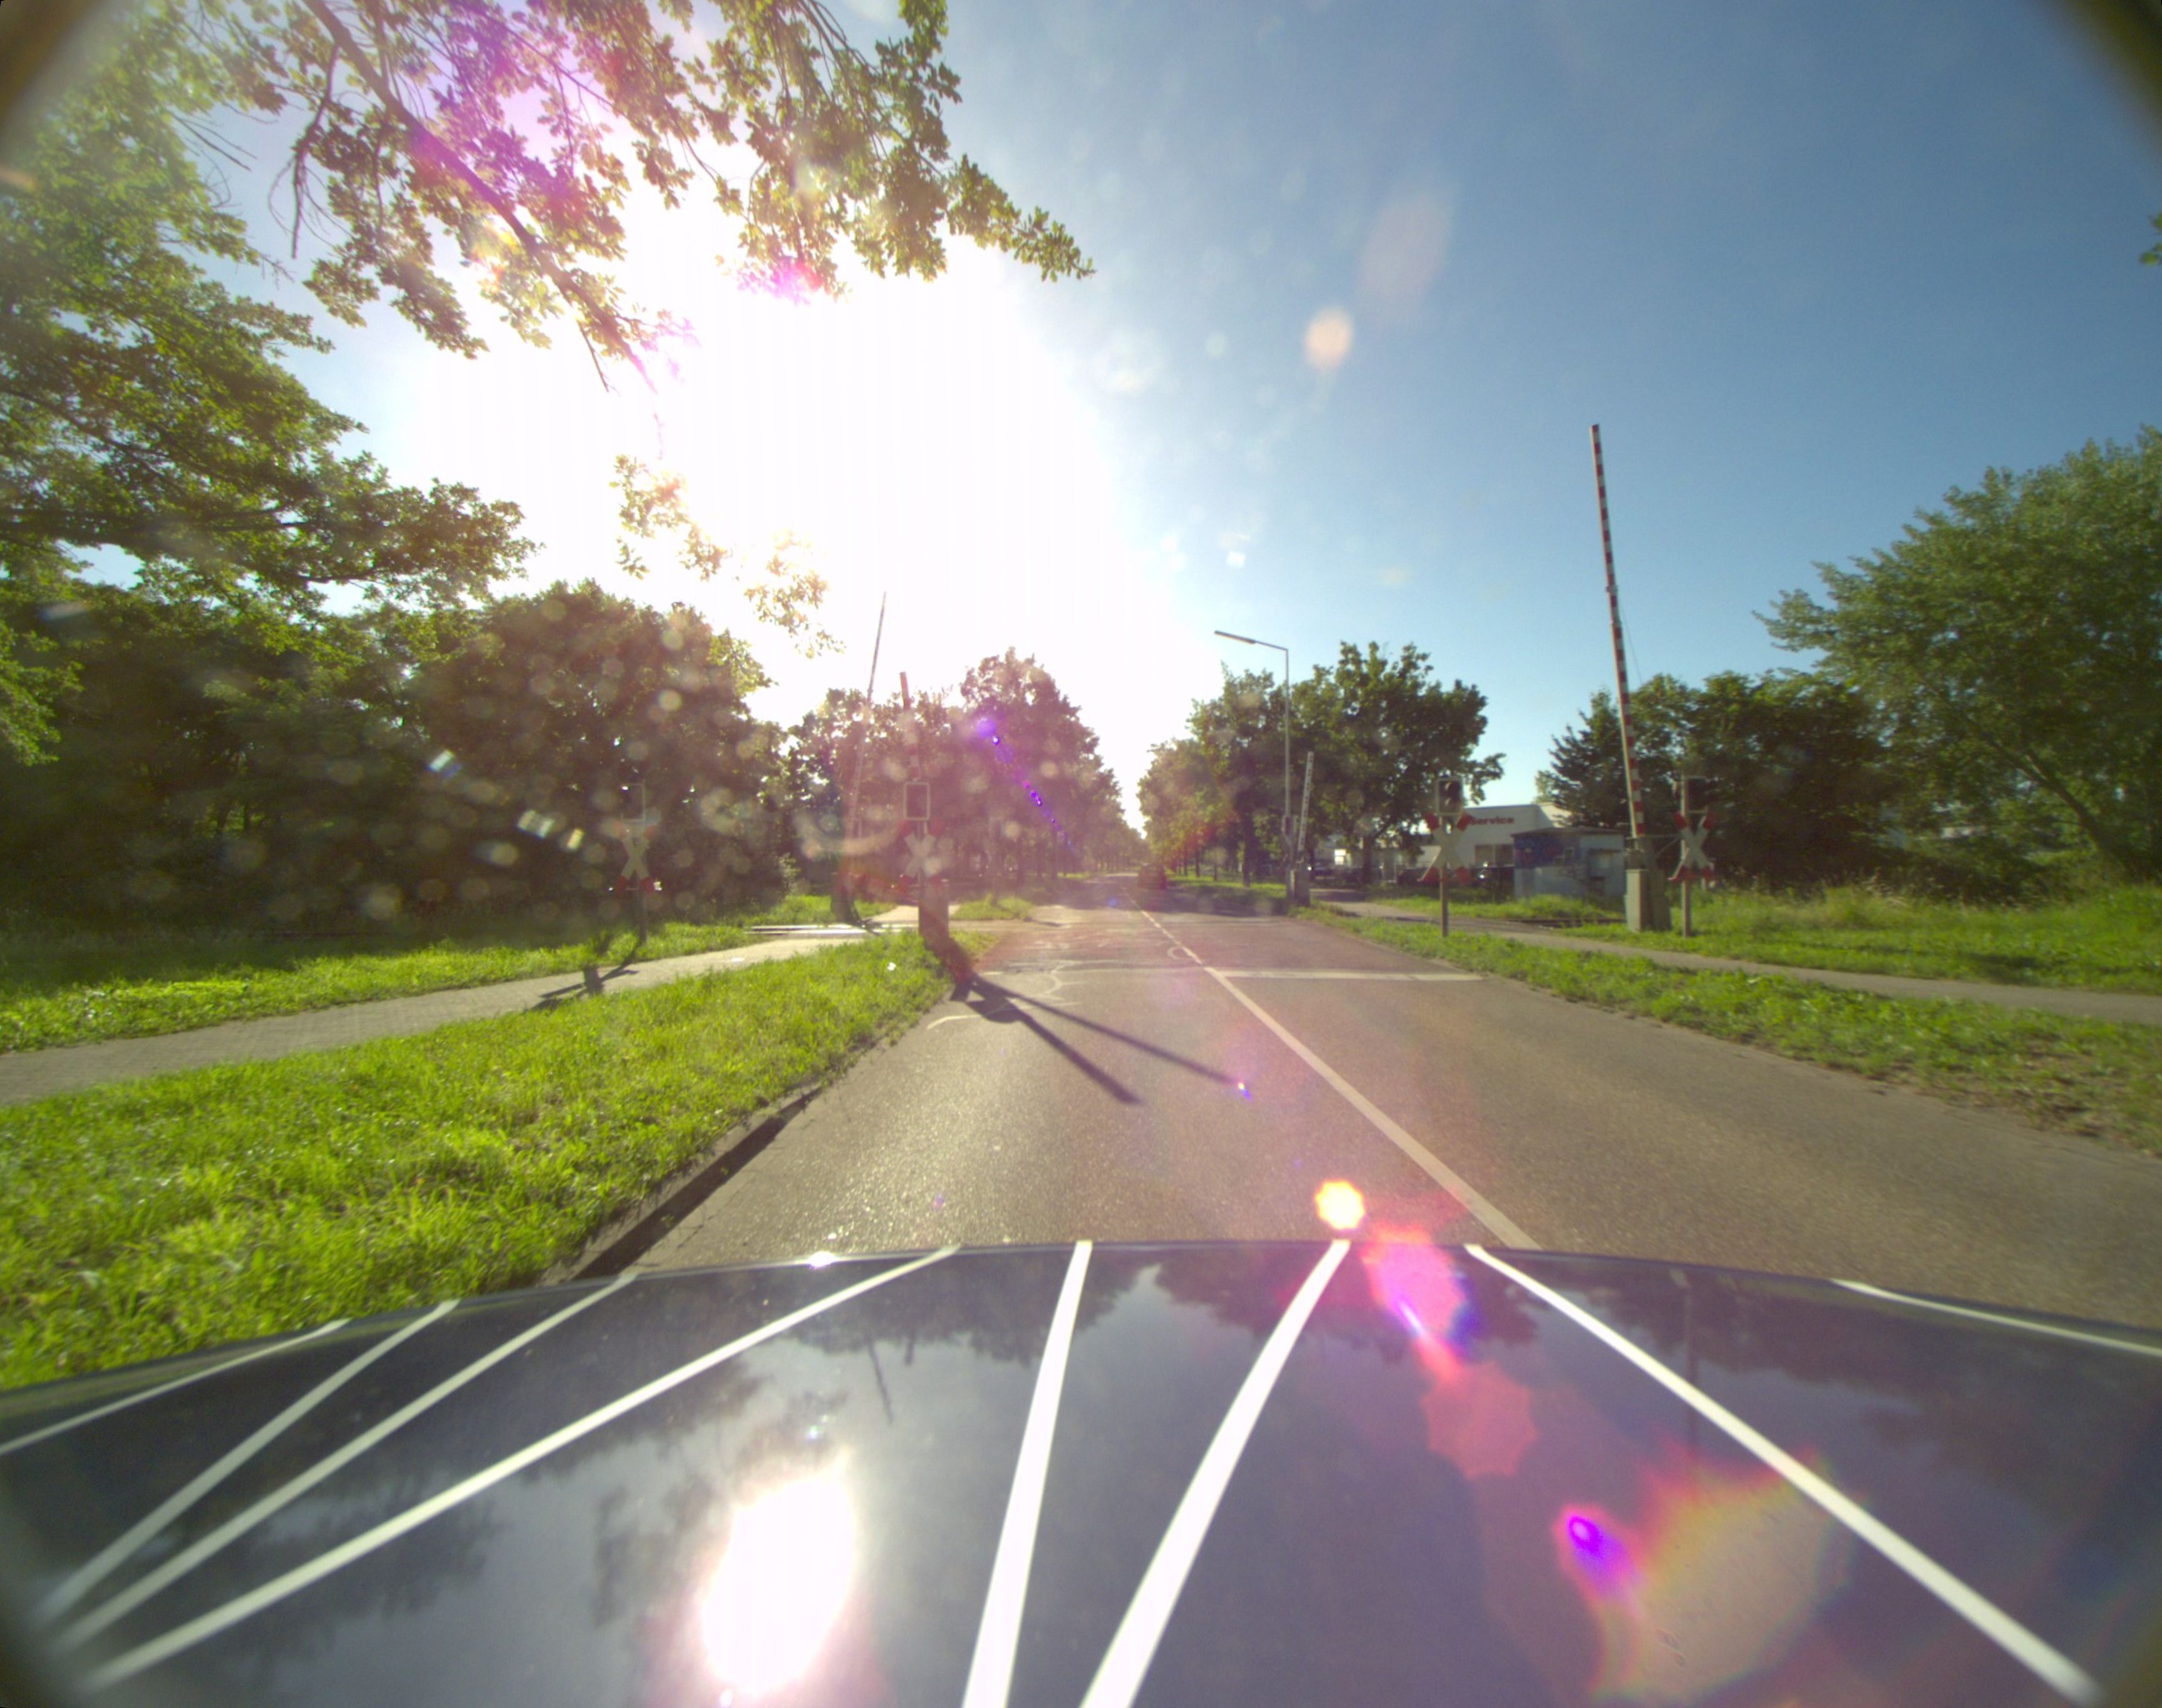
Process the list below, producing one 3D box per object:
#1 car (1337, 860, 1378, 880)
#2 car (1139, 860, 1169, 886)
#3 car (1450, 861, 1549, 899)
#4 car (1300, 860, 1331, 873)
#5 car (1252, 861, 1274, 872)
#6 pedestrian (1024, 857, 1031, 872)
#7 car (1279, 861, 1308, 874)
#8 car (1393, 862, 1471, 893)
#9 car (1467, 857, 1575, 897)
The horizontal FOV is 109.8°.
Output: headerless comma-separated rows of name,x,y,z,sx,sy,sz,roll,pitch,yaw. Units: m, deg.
car,24.427,1.368,67.287,1.998,1.588,5.016,-2,0,3
car,4.447,1.136,46.705,1.569,1.495,4.001,0,0,2
car,22.467,1.383,40.909,4.201,1.791,2.000,-2,0,-1
car,32.728,1.752,106.276,2.000,1.707,5.256,-2,0,-9
car,23.422,1.598,97.544,2.569,1.461,1.428,-1,0,22
pedestrian,-6.119,1.196,86.323,0.609,1.621,0.719,2,0,5
car,29.740,1.894,106.357,2.000,1.665,4.496,-2,0,-11
car,22.457,1.493,48.703,3.998,1.791,2.000,-2,0,-3
car,21.989,1.134,38.077,4.201,1.791,2.000,-2,0,-1
